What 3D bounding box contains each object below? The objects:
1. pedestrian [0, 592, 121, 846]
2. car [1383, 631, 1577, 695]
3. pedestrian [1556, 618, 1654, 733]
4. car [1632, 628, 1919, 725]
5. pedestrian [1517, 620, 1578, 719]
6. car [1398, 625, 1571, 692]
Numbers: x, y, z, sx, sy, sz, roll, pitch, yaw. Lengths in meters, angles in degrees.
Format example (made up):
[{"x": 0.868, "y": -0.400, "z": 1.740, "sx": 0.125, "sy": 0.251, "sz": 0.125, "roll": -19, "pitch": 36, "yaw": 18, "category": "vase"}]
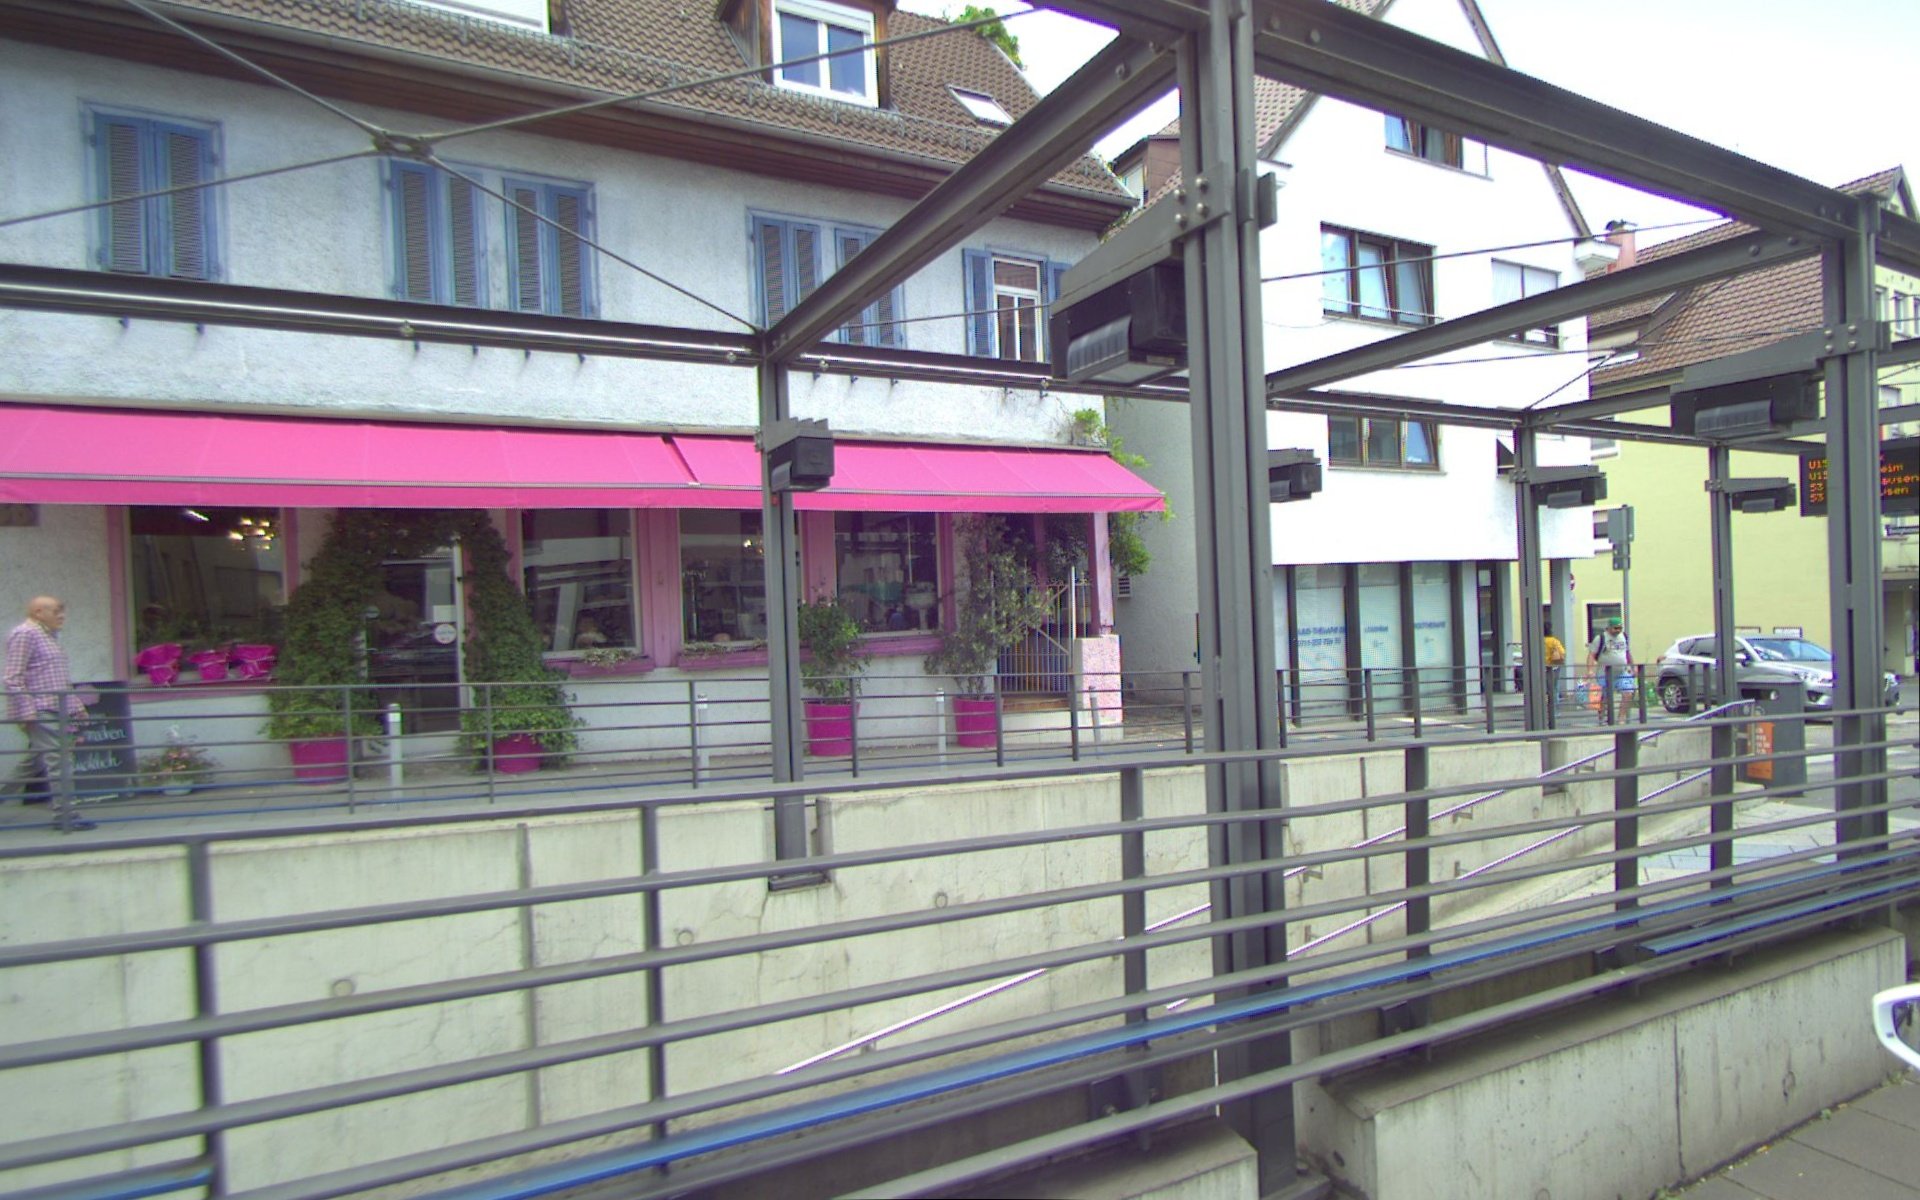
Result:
[{"x": -6.745, "y": 0.835, "z": 7.313, "sx": 0.814, "sy": 1.763, "sz": 0.691, "roll": 1, "pitch": -2, "yaw": -28, "category": "pedestrian"}, {"x": 14.093, "y": 1.640, "z": 27.426, "sx": 1.898, "sy": 1.589, "sz": 4.326, "roll": 1, "pitch": -2, "yaw": -37, "category": "car"}, {"x": 10.492, "y": 1.207, "z": 16.372, "sx": 0.971, "sy": 1.811, "sz": 0.917, "roll": 0, "pitch": -1, "yaw": -14, "category": "pedestrian"}, {"x": 15.765, "y": 1.425, "z": 19.777, "sx": 1.932, "sy": 1.642, "sz": 4.354, "roll": -1, "pitch": -2, "yaw": -4, "category": "car"}, {"x": 10.772, "y": 1.258, "z": 18.417, "sx": 0.827, "sy": 1.761, "sz": 0.633, "roll": 1, "pitch": -3, "yaw": -33, "category": "pedestrian"}, {"x": 16.074, "y": 1.831, "z": 31.044, "sx": 1.973, "sy": 1.829, "sz": 4.327, "roll": -2, "pitch": -3, "yaw": -26, "category": "car"}]
